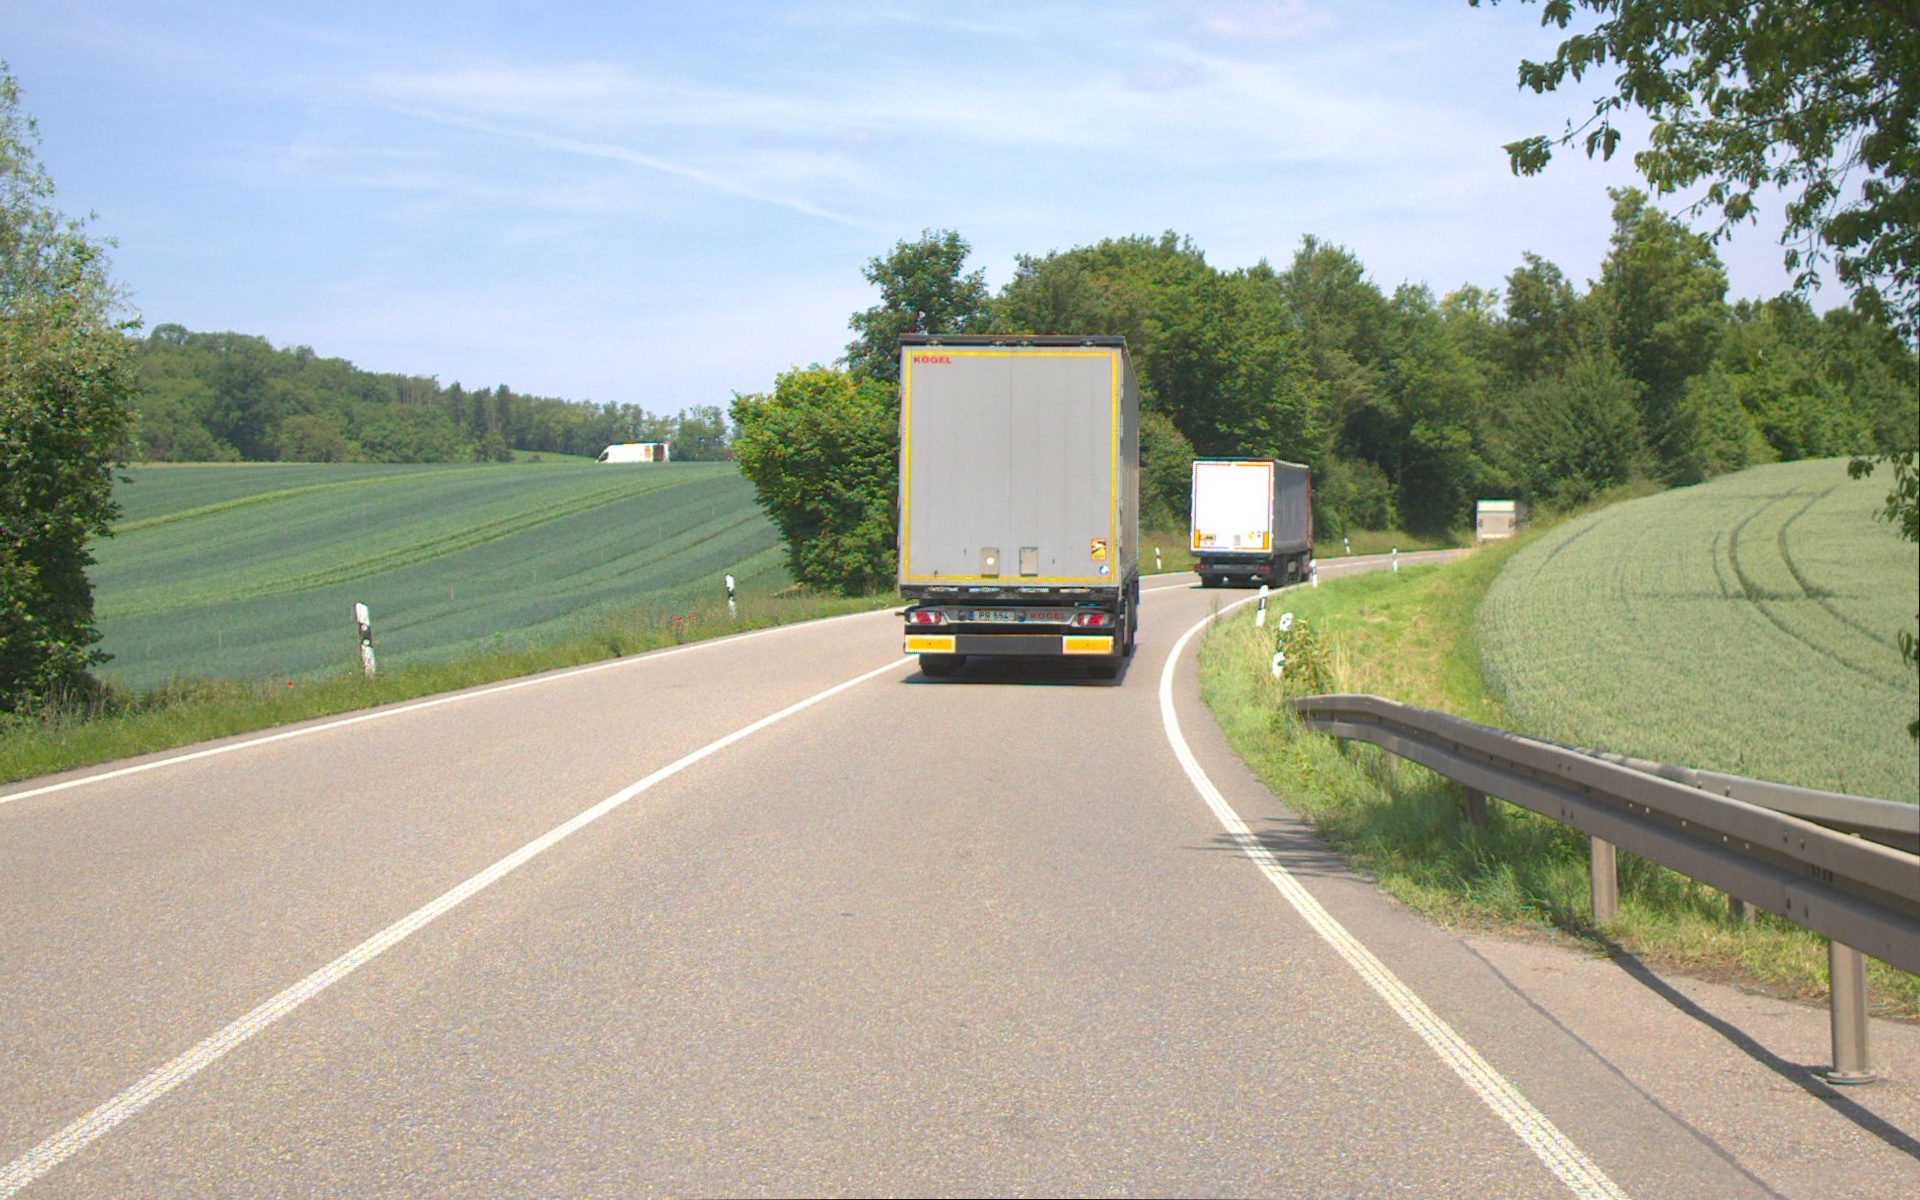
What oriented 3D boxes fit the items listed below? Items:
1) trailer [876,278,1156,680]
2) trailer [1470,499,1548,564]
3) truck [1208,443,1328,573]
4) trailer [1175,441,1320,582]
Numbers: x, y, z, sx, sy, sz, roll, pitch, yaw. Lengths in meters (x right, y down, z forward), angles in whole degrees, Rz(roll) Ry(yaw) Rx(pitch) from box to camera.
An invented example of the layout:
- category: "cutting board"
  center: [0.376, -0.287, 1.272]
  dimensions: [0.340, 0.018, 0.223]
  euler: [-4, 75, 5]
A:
- category: "trailer"
  center: [0.727, -1.464, 45.458]
  dimensions: [3.118, 4.484, 13.886]
  euler: [0, 1, 1]
- category: "trailer"
  center: [31.471, -3.849, 196.721]
  dimensions: [2.825, 3.297, 11.507]
  euler: [0, -1, 17]
- category: "truck"
  center: [10.631, -3.168, 118.110]
  dimensions: [3.367, 4.302, 6.738]
  euler: [0, 2, 11]
- category: "trailer"
  center: [9.501, -2.943, 111.910]
  dimensions: [3.366, 4.302, 13.859]
  euler: [0, 2, 10]
